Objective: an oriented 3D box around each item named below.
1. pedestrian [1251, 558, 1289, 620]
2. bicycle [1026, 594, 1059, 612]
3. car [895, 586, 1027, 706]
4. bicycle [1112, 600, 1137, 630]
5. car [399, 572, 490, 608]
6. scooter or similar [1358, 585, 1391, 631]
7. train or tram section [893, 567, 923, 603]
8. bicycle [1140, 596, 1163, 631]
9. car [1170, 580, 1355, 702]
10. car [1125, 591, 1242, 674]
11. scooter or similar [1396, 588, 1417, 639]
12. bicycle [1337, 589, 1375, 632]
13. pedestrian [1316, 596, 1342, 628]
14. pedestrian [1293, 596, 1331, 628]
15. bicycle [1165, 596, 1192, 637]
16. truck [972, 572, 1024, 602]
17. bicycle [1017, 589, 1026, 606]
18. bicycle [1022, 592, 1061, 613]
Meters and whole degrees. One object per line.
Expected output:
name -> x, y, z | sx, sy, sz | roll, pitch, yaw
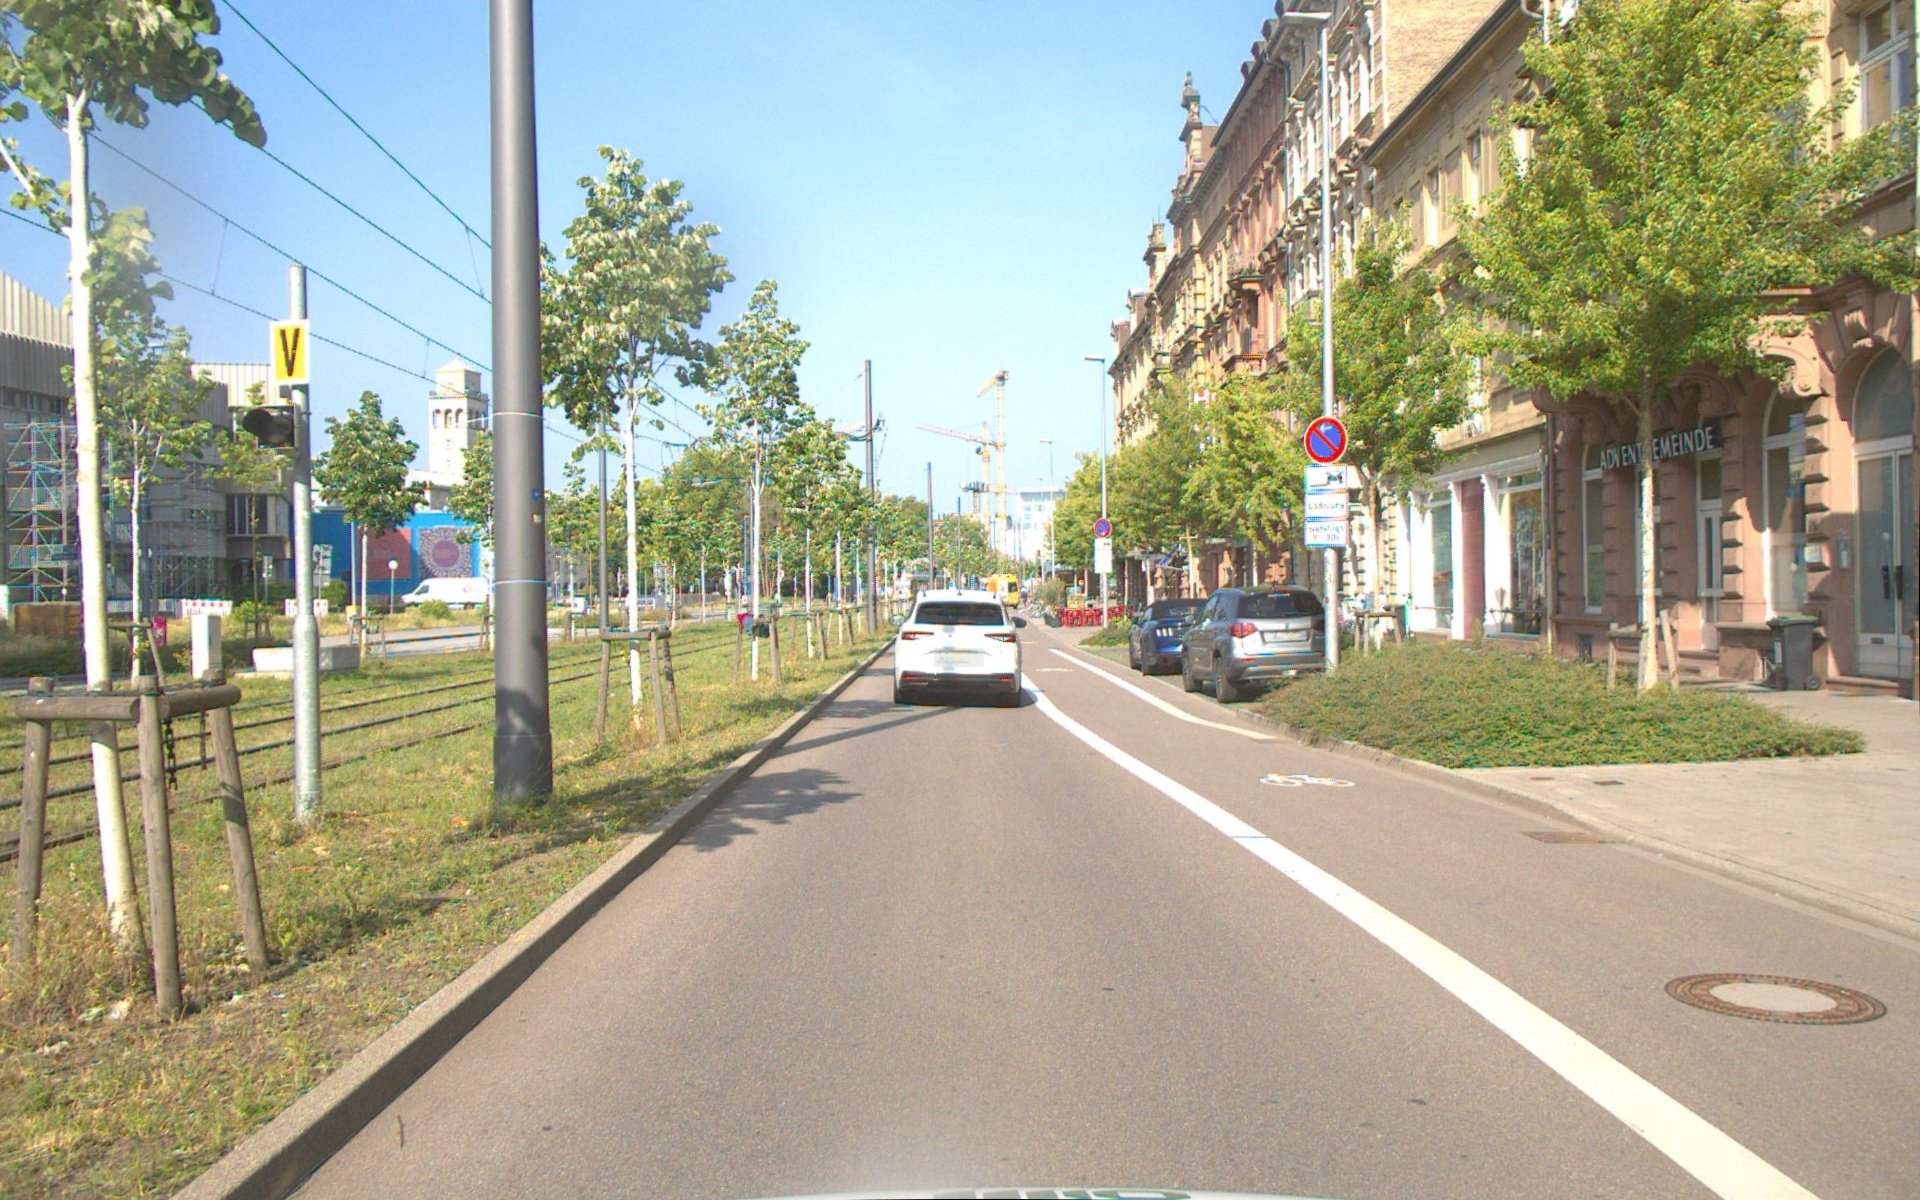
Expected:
pedestrian -> 8.870, -0.307, 47.329 | 0.807, 1.726, 0.792 | -3, 0, -4
bicycle -> 4.908, 0.186, 98.469 | 1.894, 1.003, 0.471 | -3, 0, 1
car -> 0.006, 0.608, 24.521 | 1.780, 1.617, 4.406 | 0, 0, 0
bicycle -> 6.360, 0.573, 64.068 | 0.584, 1.142, 1.923 | -1, 0, -6
car -> -41.209, -0.786, 132.202 | 6.776, 2.685, 2.498 | 2, 0, -21
scooter or similar -> 10.596, 0.203, 42.270 | 0.594, 1.144, 0.931 | -1, 0, 0
train or tram section -> -5.547, -1.524, 176.995 | 2.839, 3.649, 12.475 | -1, 0, -1
bicycle -> 6.505, 0.446, 56.107 | 0.494, 1.078, 1.715 | -3, 1, 14
car -> 4.479, 0.547, 25.077 | 1.734, 1.616, 4.245 | -2, 1, -4
car -> 4.307, 0.574, 32.543 | 1.701, 1.420, 4.715 | -2, 1, 1
scooter or similar -> 10.378, 0.311, 38.489 | 0.282, 1.154, 1.089 | -1, 0, 5
bicycle -> 10.422, 0.272, 43.594 | 0.442, 1.102, 1.445 | -1, 0, -9
pedestrian -> 10.313, 0.337, 46.227 | 0.559, 0.869, 0.457 | -3, 0, -6
pedestrian -> 10.216, 0.341, 48.019 | 0.860, 0.892, 0.710 | -3, 0, -4
bicycle -> 6.107, 0.447, 46.284 | 0.482, 1.113, 1.826 | -1, 0, 0
truck -> 3.042, -1.045, 134.067 | 2.180, 2.358, 5.855 | -1, 1, -20
bicycle -> 5.824, -0.237, 156.306 | 0.765, 1.522, 2.801 | -1, 1, 1
bicycle -> 4.783, 0.158, 97.158 | 2.193, 1.123, 0.588 | -3, 0, 1
